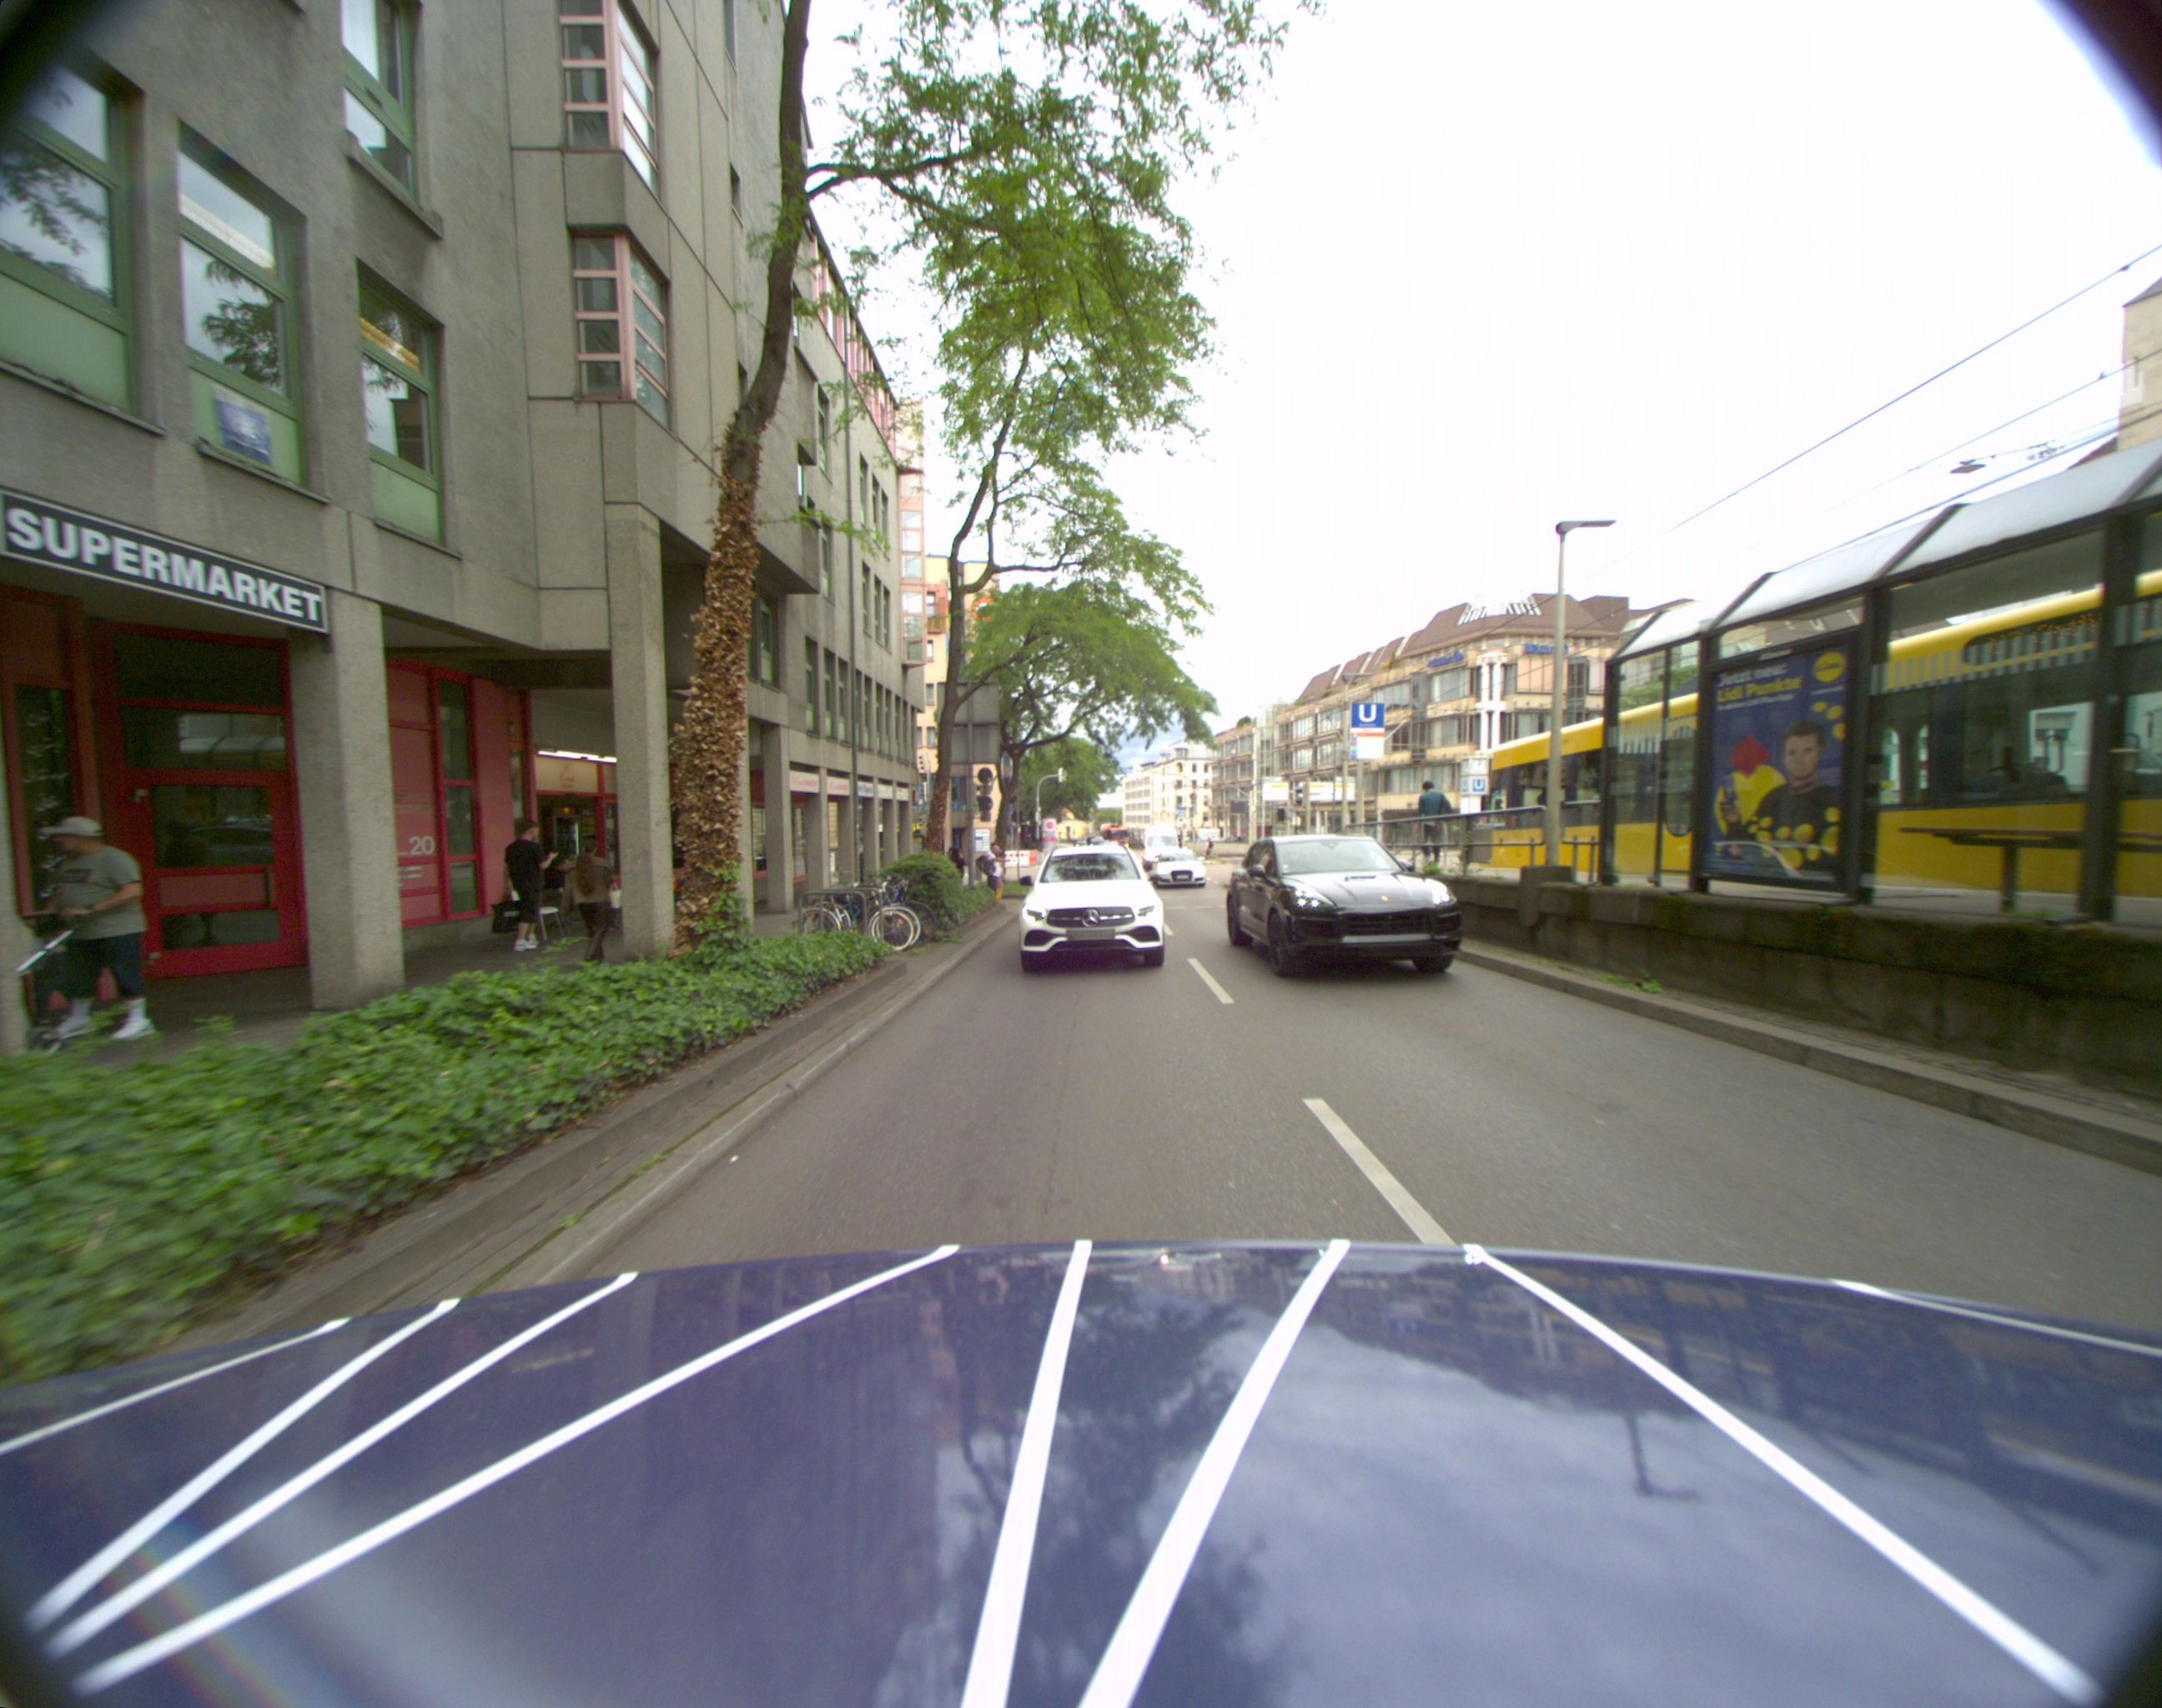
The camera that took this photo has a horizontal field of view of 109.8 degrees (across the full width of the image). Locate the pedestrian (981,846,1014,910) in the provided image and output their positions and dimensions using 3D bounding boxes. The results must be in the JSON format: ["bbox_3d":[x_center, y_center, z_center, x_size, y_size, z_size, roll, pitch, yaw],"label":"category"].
[{"bbox_3d":[-2.285,0.644,20.896,0.838,1.694,0.764,1,2,-3],"label":"pedestrian"}]

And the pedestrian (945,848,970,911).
[{"bbox_3d":[-3.230,0.668,19.912,0.618,1.602,0.764,1,-1,-10],"label":"pedestrian"}]

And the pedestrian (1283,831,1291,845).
[{"bbox_3d":[27.894,-2.156,102.799,0.732,1.801,0.739,-2,2,-4],"label":"pedestrian"}]

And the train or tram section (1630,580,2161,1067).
[{"bbox_3d":[9.273,-0.302,8.036,2.842,3.501,5.751,-2,1,2],"label":"train or tram section"}]

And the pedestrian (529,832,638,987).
[{"bbox_3d":[-5.944,0.630,9.129,0.764,1.773,0.847,1,2,-4],"label":"pedestrian"}]

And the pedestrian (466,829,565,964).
[{"bbox_3d":[-7.800,0.568,10.509,0.834,1.793,0.723,1,1,1],"label":"pedestrian"}]

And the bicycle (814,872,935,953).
[{"bbox_3d":[-3.121,0.883,11.572,1.713,1.177,0.448,1,2,-6],"label":"bicycle"}]

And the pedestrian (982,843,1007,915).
[{"bbox_3d":[-2.212,0.612,19.401,0.520,1.779,0.764,-2,2,-3],"label":"pedestrian"}]

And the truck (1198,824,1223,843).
[{"bbox_3d":[21.415,-3.471,126.144,2.273,3.059,7.367,1,2,-5],"label":"truck"}]

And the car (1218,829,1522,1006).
[{"bbox_3d":[3.264,0.582,10.002,2.088,1.665,5.352,-1,1,2],"label":"car"}]

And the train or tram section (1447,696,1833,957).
[{"bbox_3d":[9.422,-0.429,13.799,2.842,3.658,5.751,-2,1,2],"label":"train or tram section"}]

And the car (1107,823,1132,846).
[{"bbox_3d":[4.882,-2.516,97.968,2.504,2.793,5.724,-2,2,-4],"label":"car"}]

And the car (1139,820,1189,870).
[{"bbox_3d":[4.877,-0.613,45.626,2.281,2.744,5.938,-2,2,0],"label":"car"}]

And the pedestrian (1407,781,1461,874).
[{"bbox_3d":[6.762,-0.505,14.586,0.719,1.721,0.670,-2,2,2],"label":"pedestrian"}]

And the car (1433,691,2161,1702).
[{"bbox_3d":[3.342,0.616,2.286,2.370,2.002,5.147,-2,2,3],"label":"car"}]

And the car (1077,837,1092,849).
[{"bbox_3d":[0.485,-1.593,107.089,1.950,1.522,3.998,-2,2,-1],"label":"car"}]

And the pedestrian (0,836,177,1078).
[{"bbox_3d":[-7.676,0.724,5.885,0.675,1.714,0.766,2,3,42],"label":"pedestrian"}]

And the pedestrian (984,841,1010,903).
[{"bbox_3d":[-2.619,0.543,23.703,0.736,1.864,0.733,-1,2,-3],"label":"pedestrian"}]

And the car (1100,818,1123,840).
[{"bbox_3d":[4.177,-3.456,105.573,2.504,2.793,5.724,-2,2,-4],"label":"car"}]

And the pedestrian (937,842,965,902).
[{"bbox_3d":[-4.009,0.561,23.396,0.723,1.792,0.834,1,-1,-3],"label":"pedestrian"}]

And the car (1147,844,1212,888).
[{"bbox_3d":[3.852,0.425,30.340,1.950,1.522,3.998,-2,2,-2],"label":"car"}]

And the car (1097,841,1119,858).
[{"bbox_3d":[2.648,-0.517,75.983,1.950,1.522,3.998,-2,2,-1],"label":"car"}]

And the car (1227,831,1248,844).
[{"bbox_3d":[22.822,-2.475,111.156,1.678,1.749,4.778,-2,2,-6],"label":"car"}]

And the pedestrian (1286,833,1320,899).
[{"bbox_3d":[5.875,0.312,20.127,0.687,1.701,0.711,-1,1,1],"label":"pedestrian"}]

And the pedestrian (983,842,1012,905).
[{"bbox_3d":[-2.406,0.563,22.050,0.695,1.767,0.689,3,2,-3],"label":"pedestrian"}]

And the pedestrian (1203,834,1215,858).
[{"bbox_3d":[9.556,-0.597,56.572,0.766,1.712,0.637,-1,2,1],"label":"pedestrian"}]

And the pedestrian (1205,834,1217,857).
[{"bbox_3d":[9.559,-0.632,55.851,0.793,1.712,0.772,-1,2,1],"label":"pedestrian"}]

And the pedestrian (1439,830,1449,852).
[{"bbox_3d":[29.968,-1.069,62.718,0.511,1.770,0.577,-1,2,3],"label":"pedestrian"}]

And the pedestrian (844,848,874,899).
[{"bbox_3d":[-7.849,0.678,26.835,0.857,1.703,1.124,-3,1,-21],"label":"pedestrian"}]

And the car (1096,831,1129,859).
[{"bbox_3d":[2.590,-0.806,63.291,2.503,2.145,5.726,-2,2,1],"label":"car"}]

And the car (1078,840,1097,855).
[{"bbox_3d":[0.718,-0.748,87.128,1.950,1.522,3.998,-2,2,-1],"label":"car"}]

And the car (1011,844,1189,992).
[{"bbox_3d":[0.058,0.724,10.965,2.061,1.599,3.923,-2,2,-6],"label":"car"}]

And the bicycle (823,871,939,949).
[{"bbox_3d":[-3.137,0.877,12.026,1.713,1.177,0.448,1,2,-6],"label":"bicycle"}]

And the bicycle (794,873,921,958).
[{"bbox_3d":[-3.242,0.890,11.085,1.713,1.177,0.448,1,2,-6],"label":"bicycle"}]

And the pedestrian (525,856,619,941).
[{"bbox_3d":[-8.435,0.724,12.631,1.059,1.356,0.756,1,1,-6],"label":"pedestrian"}]

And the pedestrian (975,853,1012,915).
[{"bbox_3d":[-2.295,0.783,20.010,0.838,1.554,0.764,-2,2,-3],"label":"pedestrian"}]
